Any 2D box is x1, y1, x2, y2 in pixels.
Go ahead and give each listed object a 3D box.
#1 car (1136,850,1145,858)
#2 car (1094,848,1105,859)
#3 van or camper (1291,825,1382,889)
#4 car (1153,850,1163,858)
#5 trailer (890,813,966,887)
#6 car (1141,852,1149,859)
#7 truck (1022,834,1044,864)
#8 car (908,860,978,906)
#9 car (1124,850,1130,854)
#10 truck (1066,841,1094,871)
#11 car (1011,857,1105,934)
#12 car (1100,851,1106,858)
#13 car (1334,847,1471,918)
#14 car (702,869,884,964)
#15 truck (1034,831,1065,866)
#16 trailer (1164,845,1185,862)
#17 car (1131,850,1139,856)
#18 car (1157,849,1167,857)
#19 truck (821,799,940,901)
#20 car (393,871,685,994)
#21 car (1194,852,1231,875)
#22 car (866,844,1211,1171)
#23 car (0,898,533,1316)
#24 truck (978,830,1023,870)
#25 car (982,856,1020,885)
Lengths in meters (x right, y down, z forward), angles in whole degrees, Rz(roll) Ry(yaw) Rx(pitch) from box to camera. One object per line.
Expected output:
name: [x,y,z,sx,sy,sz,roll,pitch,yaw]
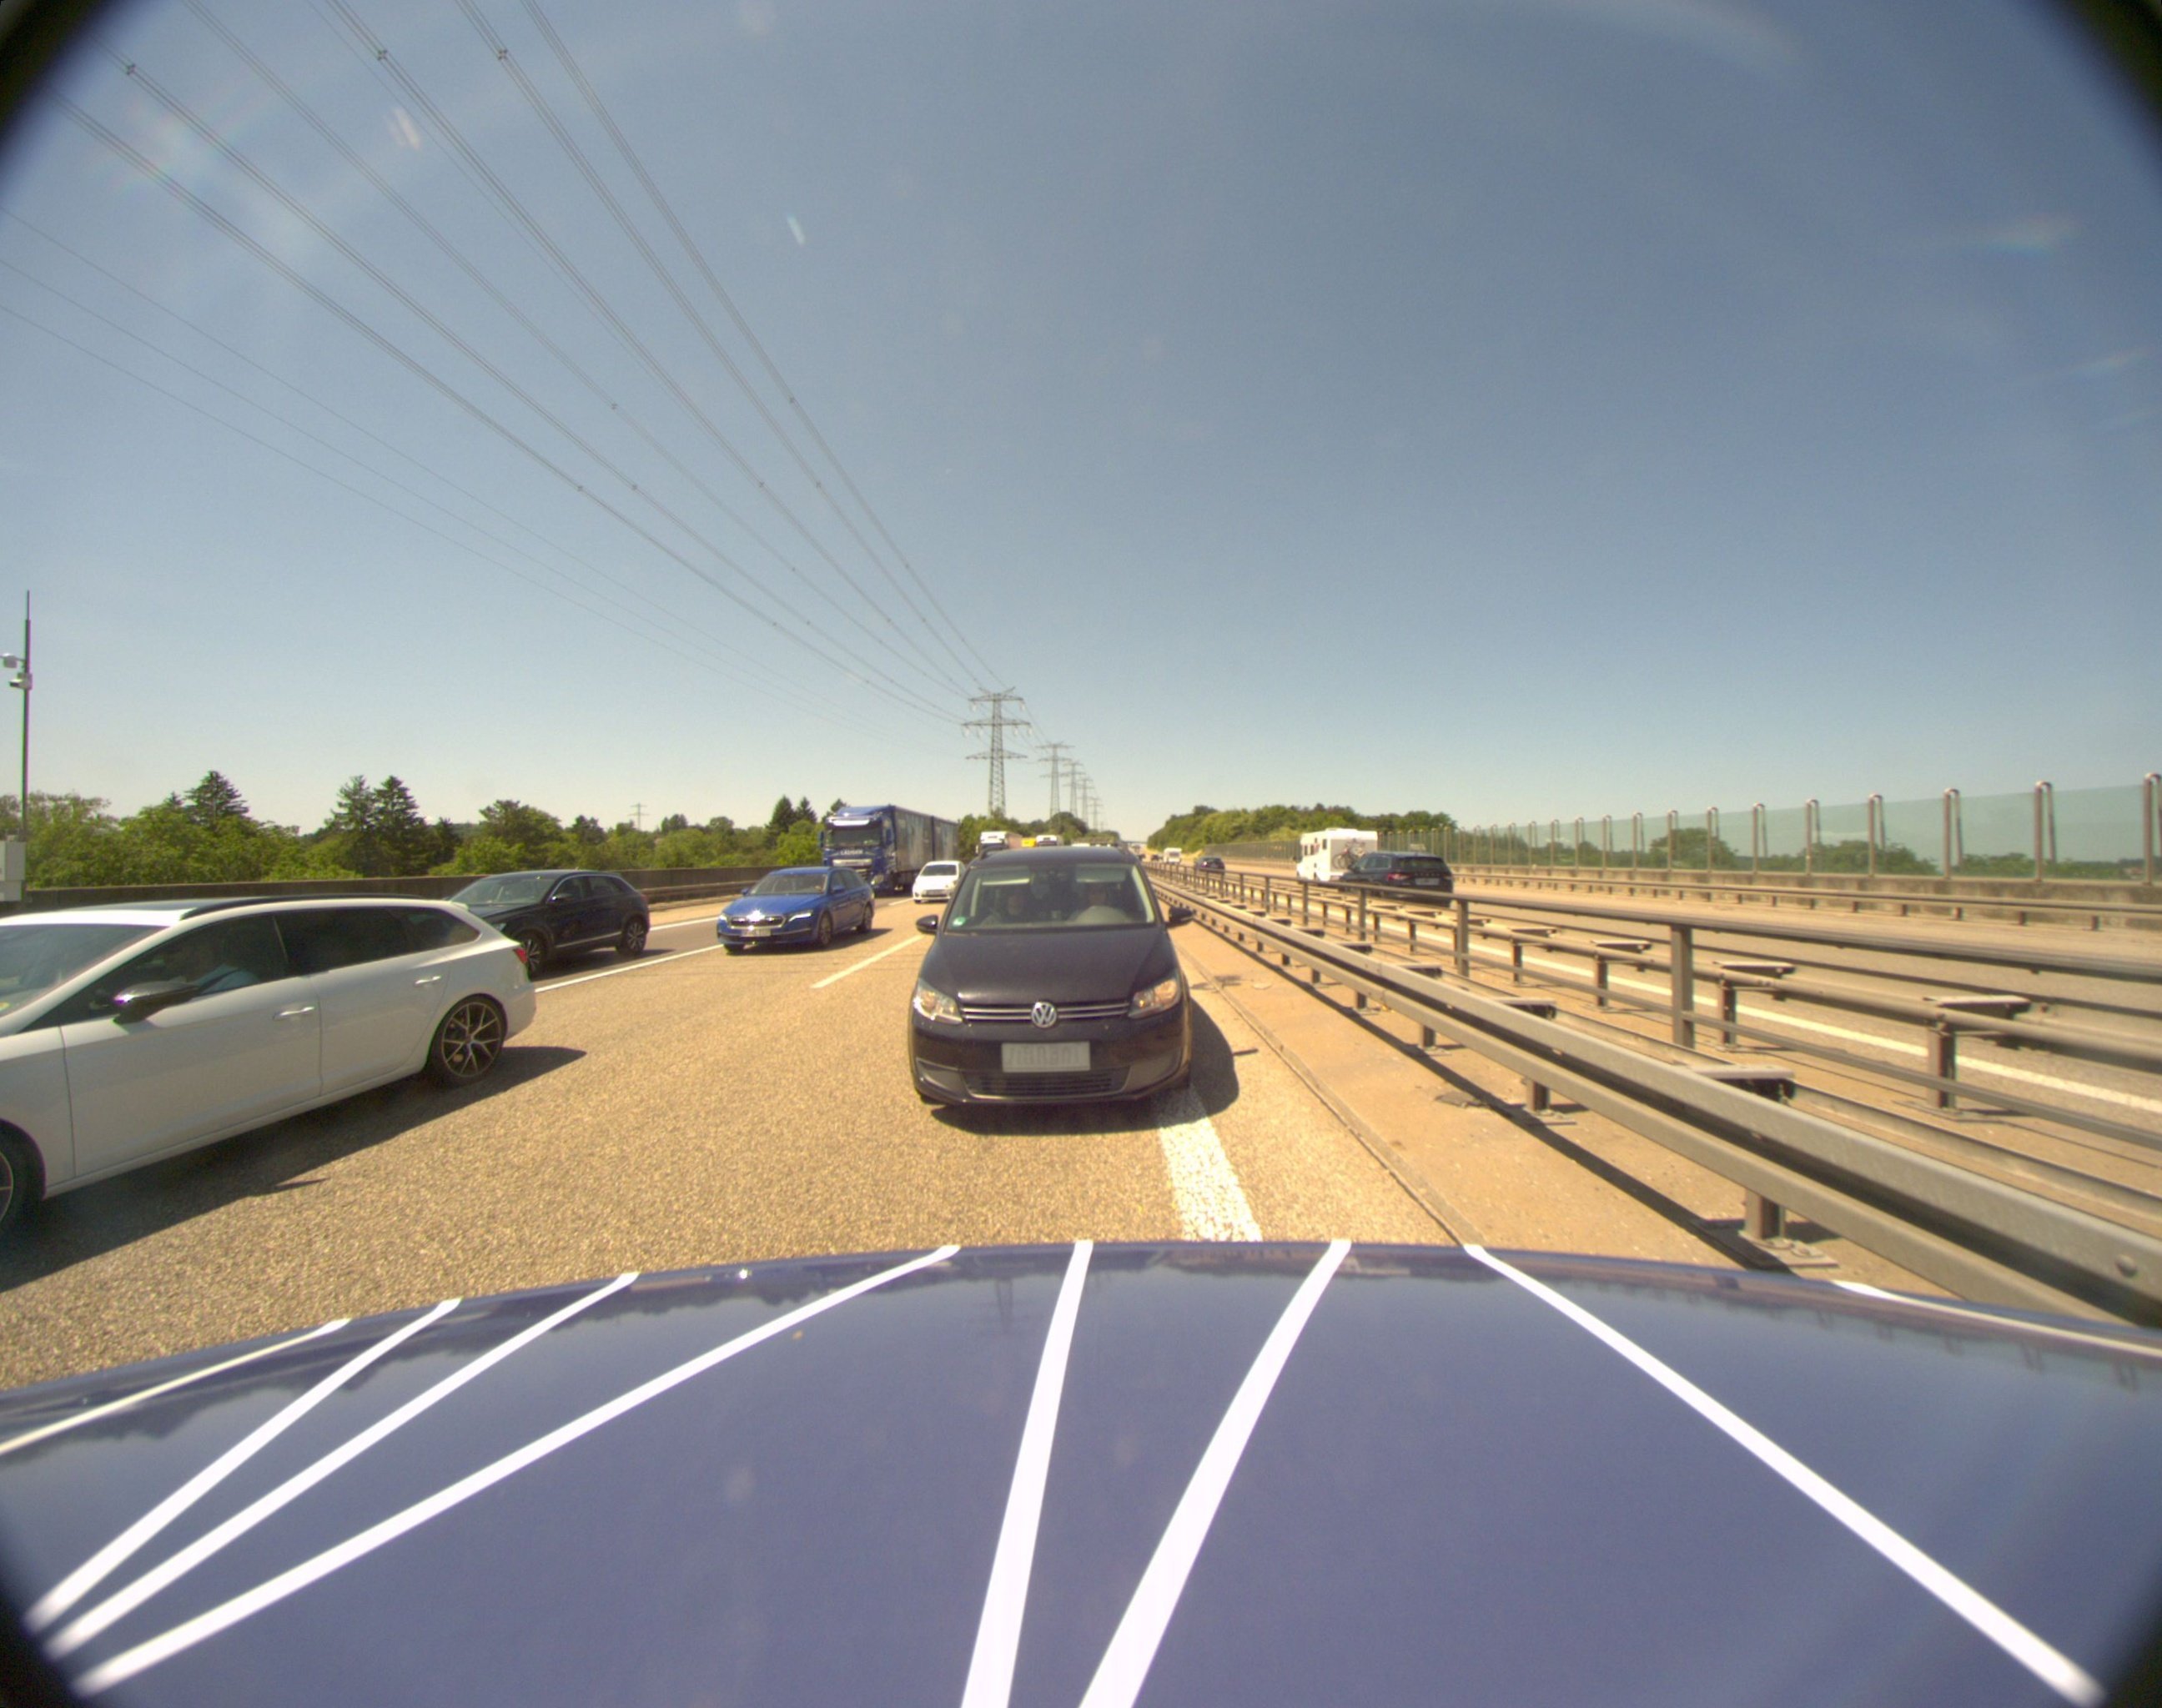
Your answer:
car: [12.231,-0.002,156.753,1.672,1.439,4.001,2,0,2]
car: [3.365,-0.083,137.875,1.998,2.002,4.000,-2,1,1]
van or camper: [13.077,0.155,39.563,2.428,3.006,7.026,1,0,1]
car: [16.556,-0.009,163.305,1.734,1.483,4.419,1,0,0]
trailer: [-8.929,-0.180,45.379,2.572,3.921,8.480,-2,0,1]
car: [18.446,0.322,219.319,1.998,2.002,4.000,0,0,1]
truck: [-6.835,-0.774,109.477,2.346,4.058,8.278,-2,1,1]
car: [-5.056,1.015,28.273,1.762,1.495,4.094,-1,0,1]
car: [15.239,-0.706,253.305,1.601,1.310,4.341,1,0,0]
truck: [-0.006,0.175,67.637,2.284,2.479,5.861,-2,0,1]
car: [-0.433,0.837,17.439,1.845,1.495,4.377,-1,0,1]
car: [6.066,0.098,209.404,1.805,2.002,4.000,0,0,1]
car: [8.644,0.702,20.886,1.872,1.690,4.430,1,0,0]
car: [-5.317,1.084,14.672,1.739,1.437,4.211,-1,0,2]
truck: [-3.659,-0.636,90.556,2.980,3.832,10.562,-2,0,1]
trailer: [14.916,-0.050,121.293,2.499,2.534,6.774,1,0,1]
car: [13.199,-0.246,186.210,1.672,1.439,4.001,2,0,2]
car: [21.671,-0.240,202.933,1.998,1.874,5.256,1,0,0]
truck: [-9.060,-0.205,35.911,2.529,4.043,10.447,-2,0,1]
car: [-8.511,1.128,12.476,1.740,1.518,4.106,-2,0,1]
car: [9.478,0.656,55.044,1.872,1.523,4.424,2,0,1]
car: [-0.208,0.792,5.967,1.740,1.652,4.000,-2,0,0]
car: [-5.271,1.132,3.965,1.843,1.481,4.071,-2,0,-1]
truck: [-7.771,-0.398,74.875,2.985,3.538,10.967,-2,0,1]
car: [-4.562,0.917,43.861,1.763,1.495,4.094,-1,0,0]
